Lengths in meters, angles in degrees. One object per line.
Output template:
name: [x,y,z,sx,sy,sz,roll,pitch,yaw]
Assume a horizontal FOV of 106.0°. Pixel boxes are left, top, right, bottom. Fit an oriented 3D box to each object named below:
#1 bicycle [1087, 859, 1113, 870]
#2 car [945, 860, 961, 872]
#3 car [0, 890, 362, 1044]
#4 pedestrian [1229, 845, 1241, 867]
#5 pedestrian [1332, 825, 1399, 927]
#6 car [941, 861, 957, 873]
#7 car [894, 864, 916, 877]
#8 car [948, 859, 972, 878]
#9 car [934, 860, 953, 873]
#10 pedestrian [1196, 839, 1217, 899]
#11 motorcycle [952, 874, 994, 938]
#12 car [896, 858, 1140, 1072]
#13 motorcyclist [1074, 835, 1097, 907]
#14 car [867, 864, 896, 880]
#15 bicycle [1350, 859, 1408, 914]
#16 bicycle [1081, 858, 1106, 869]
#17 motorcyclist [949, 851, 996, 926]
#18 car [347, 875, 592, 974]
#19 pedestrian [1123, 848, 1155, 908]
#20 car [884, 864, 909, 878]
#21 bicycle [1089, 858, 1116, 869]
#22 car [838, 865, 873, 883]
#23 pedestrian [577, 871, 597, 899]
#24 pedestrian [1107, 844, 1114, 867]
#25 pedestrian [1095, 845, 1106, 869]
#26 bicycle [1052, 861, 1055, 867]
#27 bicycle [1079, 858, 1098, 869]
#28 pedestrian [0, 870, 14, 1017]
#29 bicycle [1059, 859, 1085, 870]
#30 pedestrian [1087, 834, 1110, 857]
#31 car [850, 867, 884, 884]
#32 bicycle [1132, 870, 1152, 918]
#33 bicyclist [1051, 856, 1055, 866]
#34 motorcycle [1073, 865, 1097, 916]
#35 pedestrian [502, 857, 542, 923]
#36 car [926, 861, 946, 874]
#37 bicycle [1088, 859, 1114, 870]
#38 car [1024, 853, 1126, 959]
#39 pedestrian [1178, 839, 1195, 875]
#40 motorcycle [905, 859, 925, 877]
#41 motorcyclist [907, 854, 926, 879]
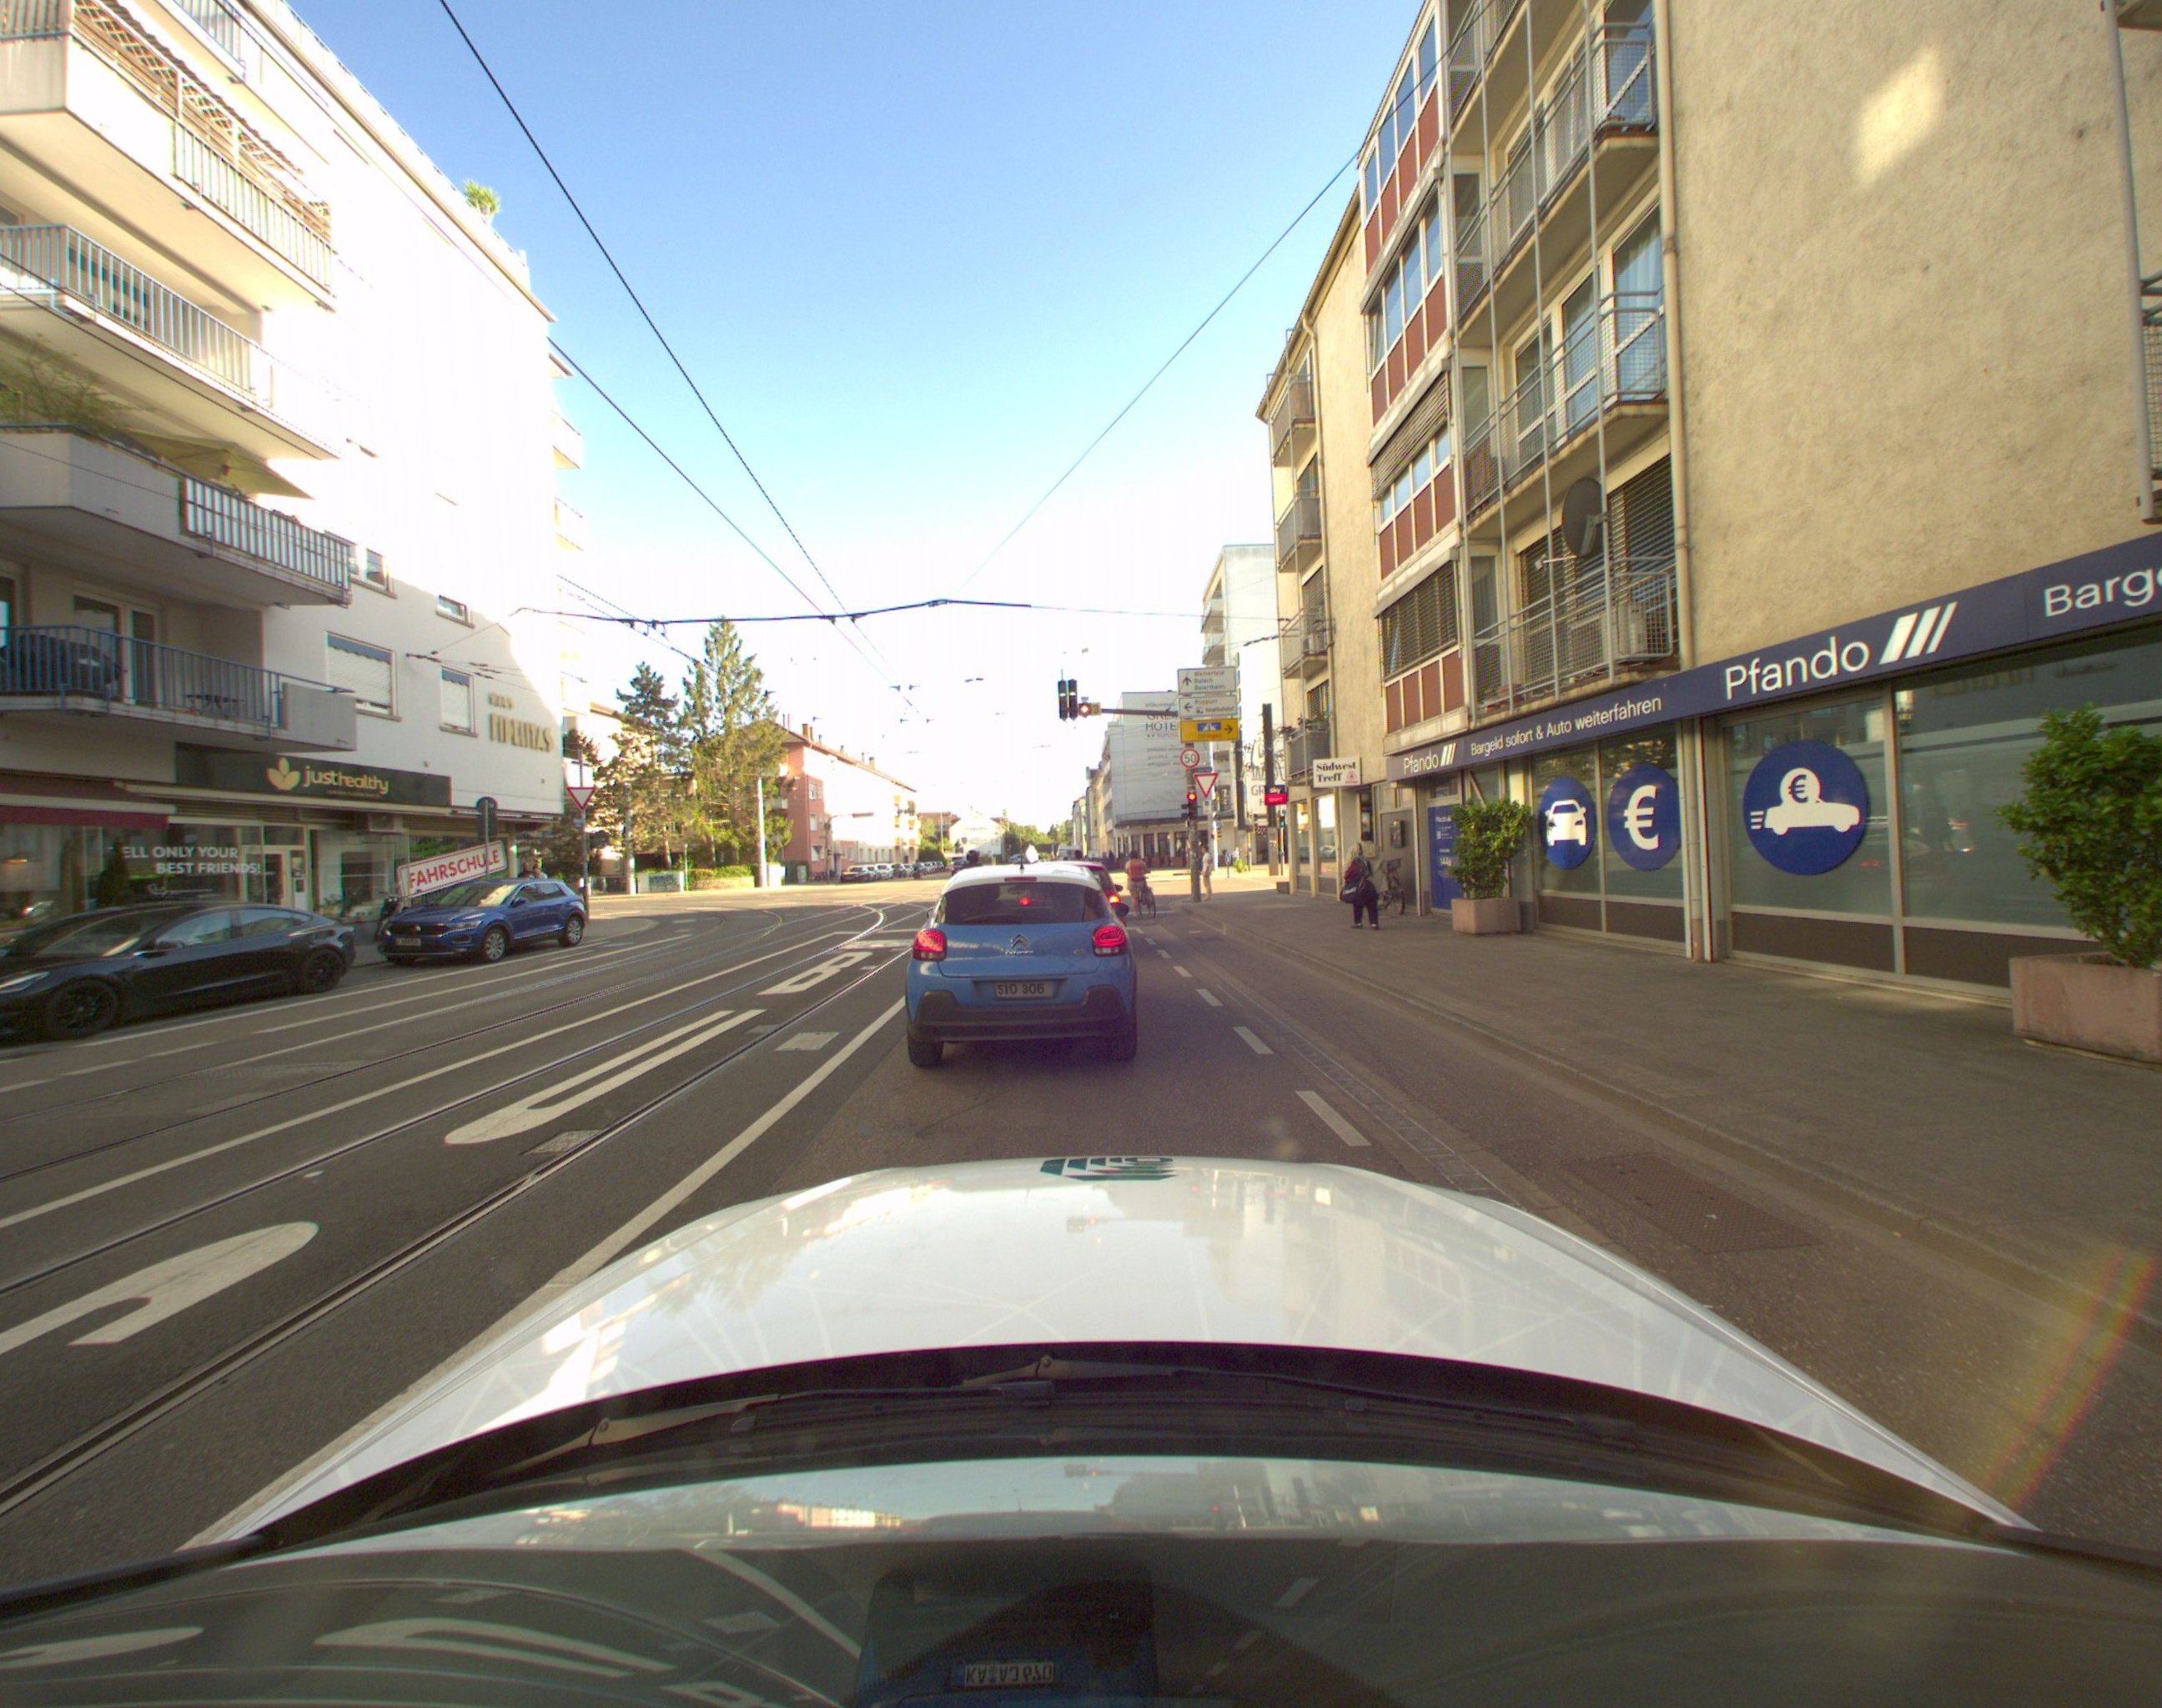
bicycle: [1.565,0.855,67.540,2.130,0.901,0.366,0,-1,-7]
car: [-19.084,1.759,121.977,1.841,1.687,3.872,0,-1,-1]
car: [-12.089,1.296,10.449,1.816,1.387,4.425,-3,0,-2]
pedestrian: [10.853,0.146,57.473,0.730,1.601,0.751,-1,-1,15]
pedestrian: [4.574,0.342,13.154,0.822,1.593,0.751,0,-1,1]
car: [-18.977,1.853,117.300,1.828,1.687,3.998,0,-1,-1]
car: [-20.050,1.848,92.773,1.728,1.498,3.996,0,-1,-2]
car: [-11.354,1.339,76.834,1.770,1.666,3.854,0,-1,-2]
car: [-18.879,1.678,111.960,1.877,1.687,3.998,0,-1,-1]
pedestrian: [3.743,0.440,24.310,0.515,1.783,0.595,0,-1,0]
motorcycle: [-2.230,1.049,16.948,0.535,1.219,1.982,0,-1,2]
car: [-0.375,0.766,7.293,1.648,1.444,3.524,0,-1,2]
motorcyclist: [0.120,0.403,19.757,0.524,1.716,0.717,0,-1,1]
car: [-19.499,1.740,79.758,1.781,1.511,4.150,0,0,1]
bicycle: [5.691,0.592,15.628,0.540,0.998,1.706,0,-1,2]
bicycle: [1.046,0.818,68.511,2.130,0.901,0.366,0,-1,-7]
motorcyclist: [-2.219,0.701,16.765,0.857,1.505,0.598,0,-1,1]
car: [-11.911,1.284,16.276,1.864,1.531,4.068,-2,0,-2]
pedestrian: [1.444,0.592,20.361,0.774,1.460,0.682,0,-1,1]
car: [-19.589,1.800,86.728,1.781,1.498,3.998,0,-1,-1]
bicycle: [1.730,0.768,66.062,2.130,0.901,0.366,0,-1,-7]
car: [-19.224,1.682,69.454,1.787,1.421,3.996,0,0,1]
pedestrian: [-32.450,2.005,53.547,0.901,1.791,0.803,0,-1,-13]
pedestrian: [2.535,0.142,70.460,0.575,2.014,0.625,0,-1,-1]
pedestrian: [1.672,0.234,69.341,0.635,2.014,0.717,0,-1,-34]
bicycle: [-3.980,1.397,115.983,0.347,0.903,1.859,0,-1,0]
bicycle: [0.611,0.816,69.455,1.765,0.901,0.369,-1,-1,36]
pedestrian: [-13.616,1.099,9.709,0.689,1.803,0.812,0,-1,1]
bicycle: [-0.723,0.876,66.502,2.130,0.901,0.366,0,-1,-7]
pedestrian: [1.628,-0.730,73.698,1.986,2.014,4.001,0,-1,2]
car: [-19.466,1.916,74.240,1.808,1.498,4.302,0,0,2]
bicycle: [1.526,0.977,20.631,0.426,1.123,1.999,0,-1,2]
bicyclist: [-3.990,0.980,115.522,0.559,1.477,0.748,0,-1,0]
motorcycle: [0.113,0.836,19.565,0.524,1.139,2.290,0,-1,2]
pedestrian: [-17.401,1.103,25.360,0.767,2.014,0.694,0,-1,-4]
car: [-18.949,1.714,106.640,1.978,1.687,3.998,0,-1,-1]
bicycle: [1.621,0.863,67.140,2.130,0.901,0.366,0,-1,-7]
car: [-0.042,0.770,13.219,1.419,1.467,2.925,-2,-1,2]
pedestrian: [6.087,0.170,46.951,0.922,2.014,0.760,0,-1,1]
motorcycle: [-13.738,1.146,67.512,0.921,1.486,3.724,0,-1,-1]
motorcyclist: [-13.689,1.024,67.811,1.182,2.013,1.275,-2,0,-1]
